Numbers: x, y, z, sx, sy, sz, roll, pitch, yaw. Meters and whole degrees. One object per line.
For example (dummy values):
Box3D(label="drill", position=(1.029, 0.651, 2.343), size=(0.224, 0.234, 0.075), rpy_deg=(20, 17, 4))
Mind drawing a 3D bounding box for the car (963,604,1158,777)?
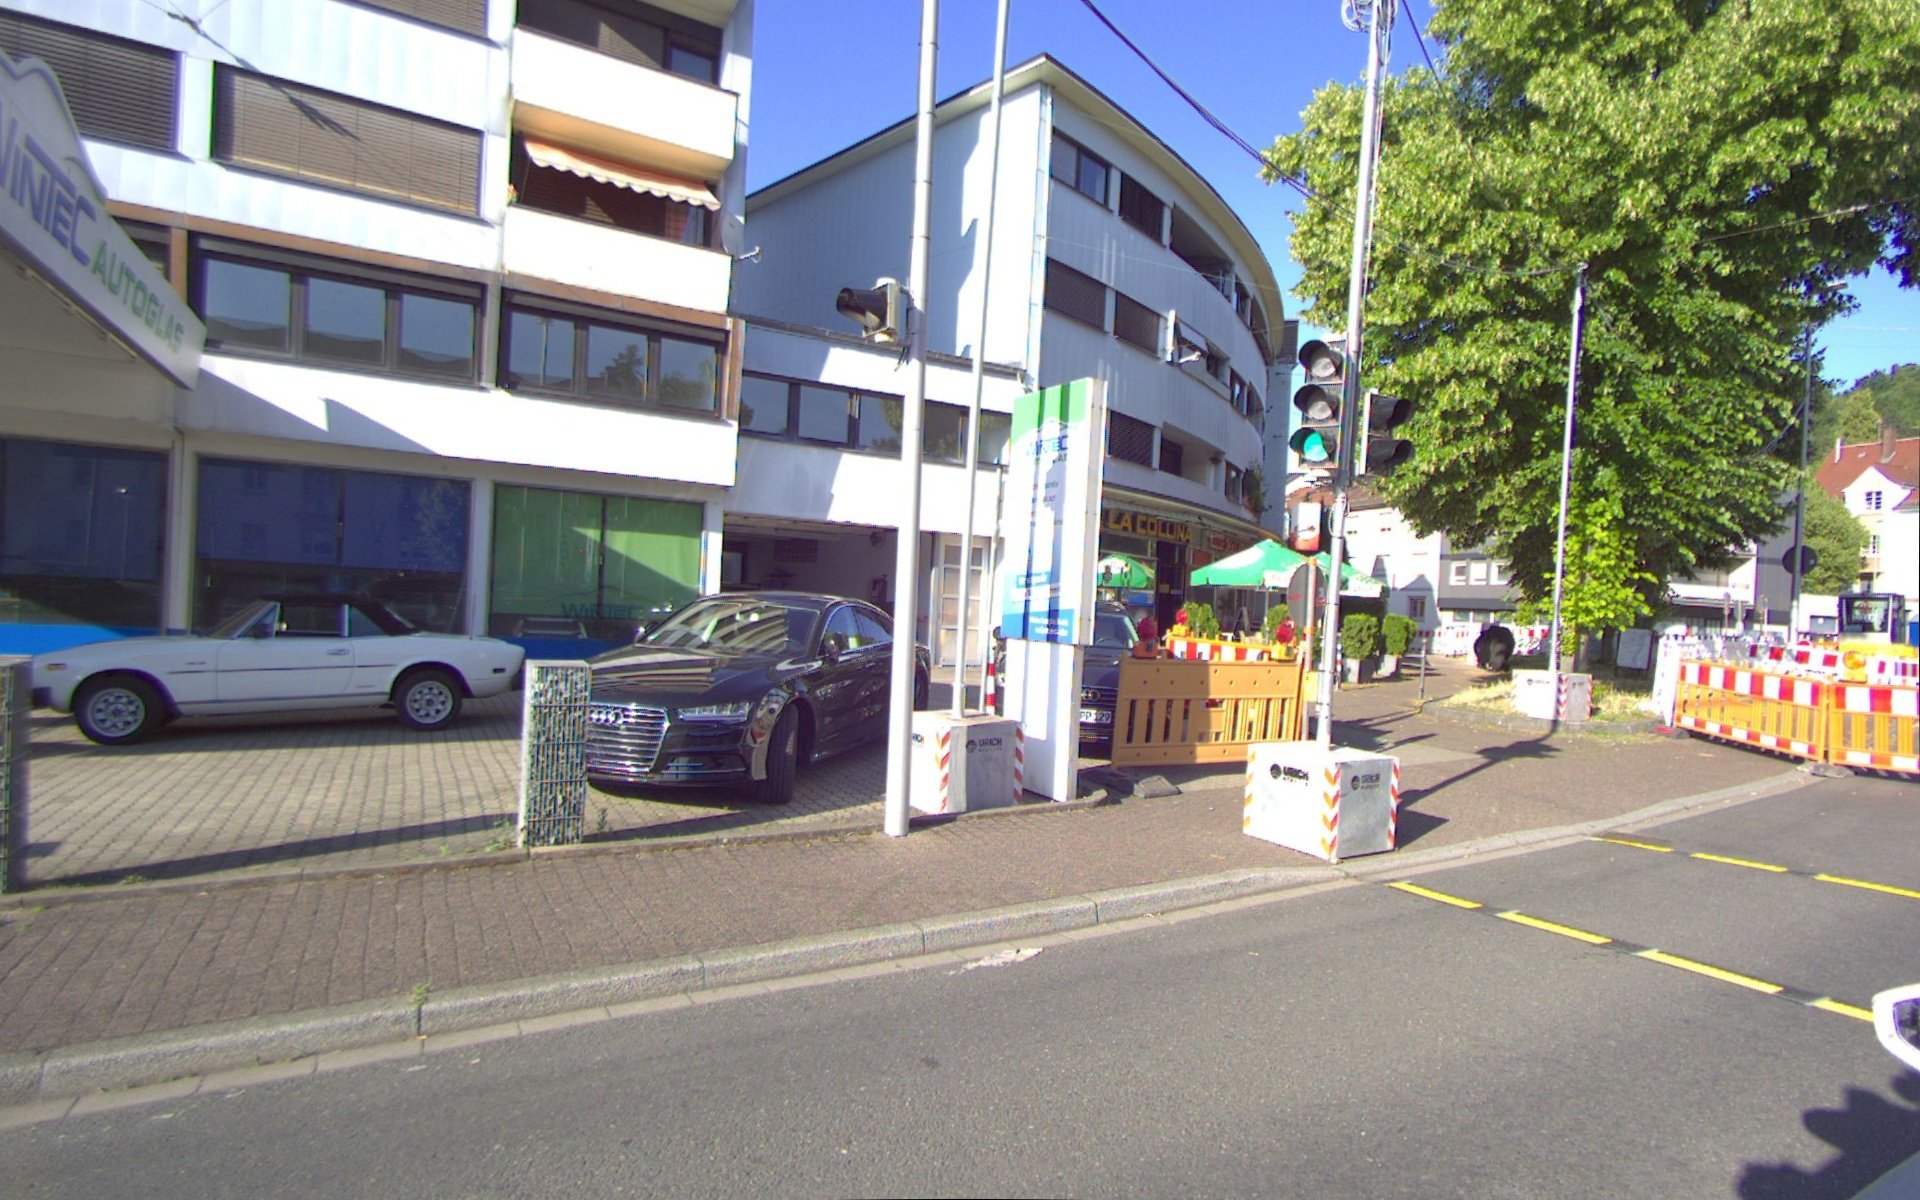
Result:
Box3D(label="car", position=(1.250, 0.838, 10.803), size=(1.564, 1.457, 3.887), rpy_deg=(1, -1, 13))

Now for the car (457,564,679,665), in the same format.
Box3D(label="car", position=(-7.308, 0.307, 18.780), size=(3.590, 1.695, 1.709), rpy_deg=(3, -1, -31))

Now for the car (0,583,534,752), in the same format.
Box3D(label="car", position=(-6.234, 0.592, 9.502), size=(3.862, 1.315, 1.512), rpy_deg=(2, -1, -32))

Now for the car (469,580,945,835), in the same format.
Box3D(label="car", position=(-1.624, 0.686, 8.405), size=(1.893, 1.457, 4.692), rpy_deg=(1, -1, 13))

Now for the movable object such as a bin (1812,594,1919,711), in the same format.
Box3D(label="movable object such as a bin", position=(20.490, 1.118, 22.089), size=(3.879, 2.355, 1.636), rpy_deg=(2, 0, -33))

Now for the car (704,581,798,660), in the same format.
Box3D(label="car", position=(-4.929, 0.417, 23.363), size=(1.549, 1.629, 3.737), rpy_deg=(2, 0, -21))
